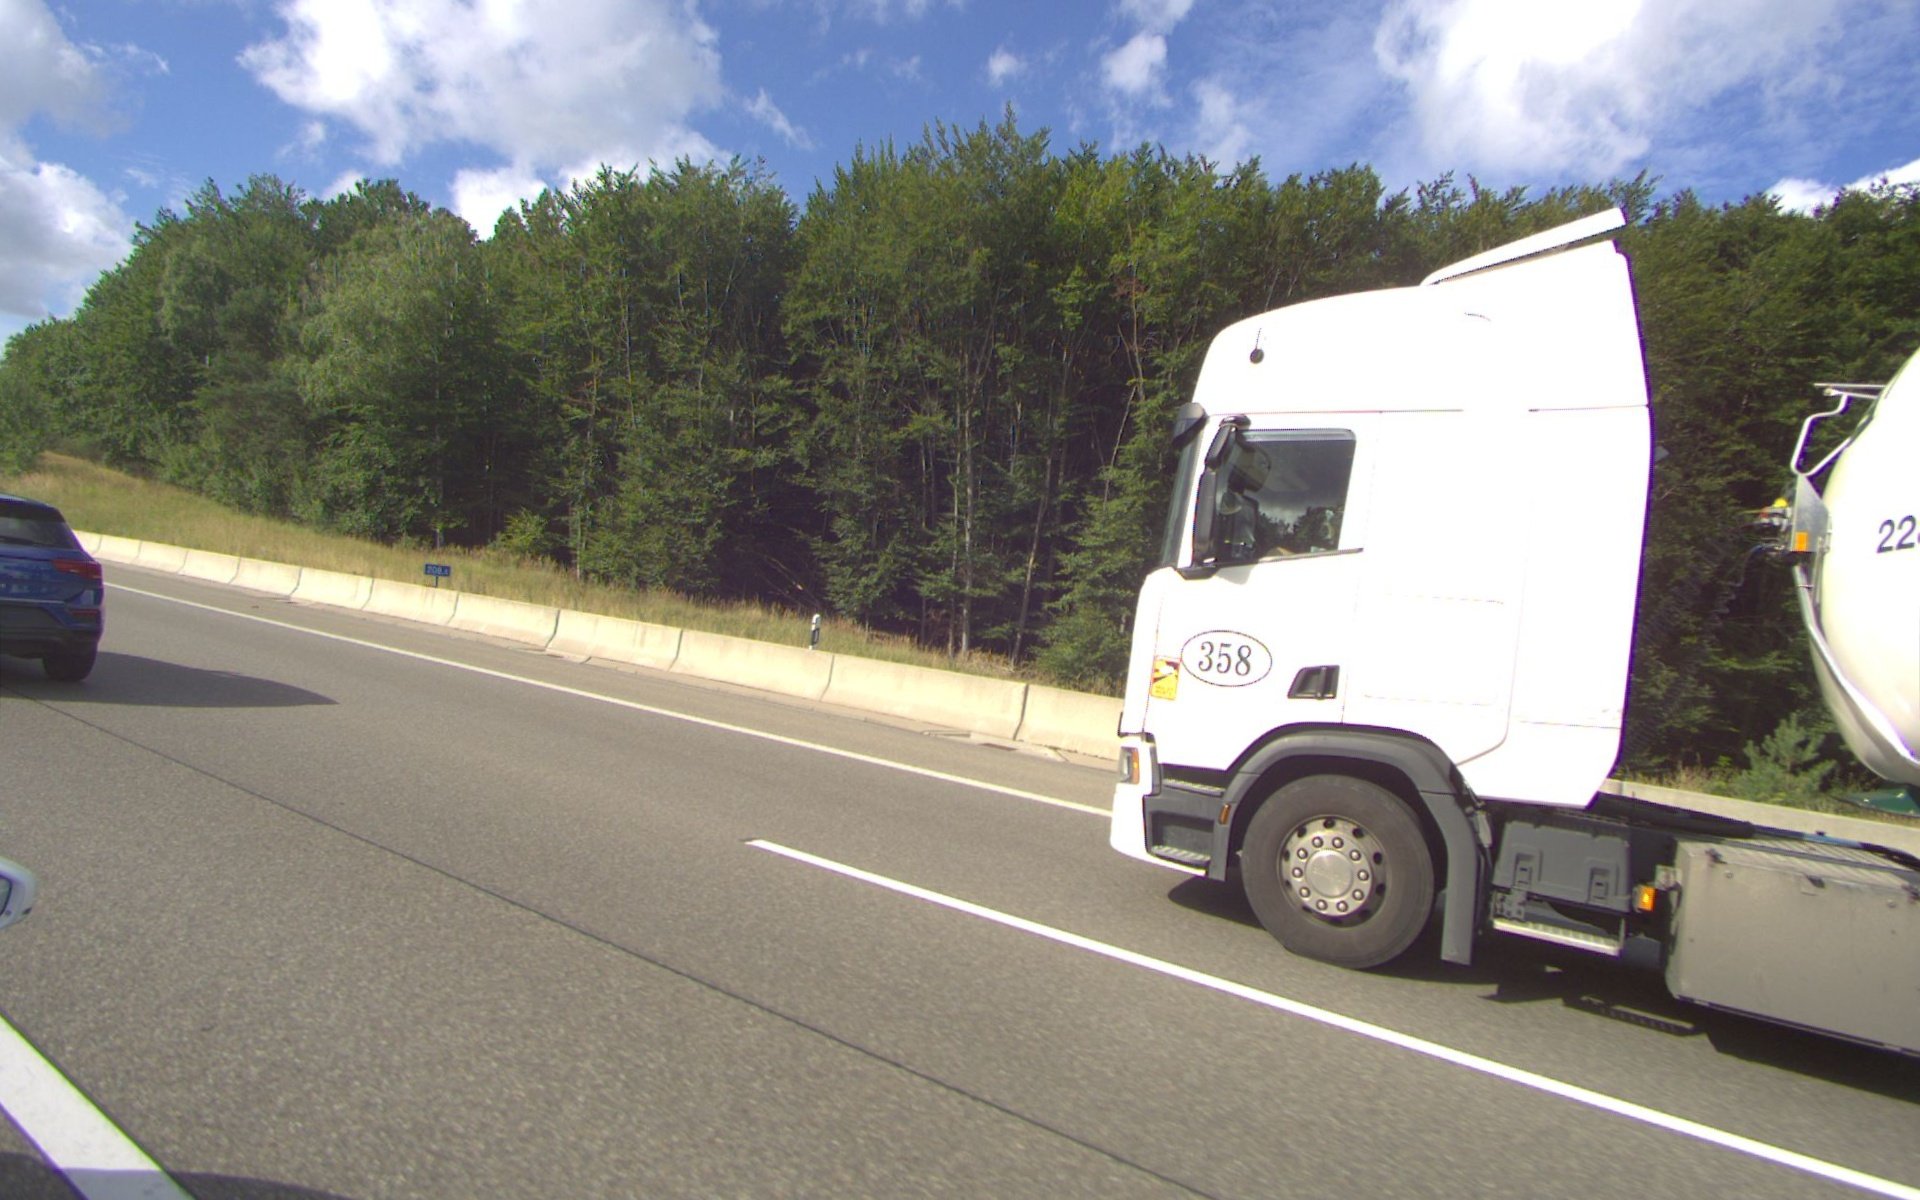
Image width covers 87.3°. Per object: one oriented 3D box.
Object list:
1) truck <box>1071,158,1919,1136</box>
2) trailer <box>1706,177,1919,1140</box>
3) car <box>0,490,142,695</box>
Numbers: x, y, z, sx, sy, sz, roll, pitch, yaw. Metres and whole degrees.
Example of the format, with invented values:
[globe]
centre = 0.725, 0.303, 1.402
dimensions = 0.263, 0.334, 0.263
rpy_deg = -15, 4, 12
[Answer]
[truck]
centre = 4.078, 0.206, 5.390
dimensions = 5.980, 3.870, 2.653
rpy_deg = 7, 0, 31
[trailer]
centre = 9.266, 0.872, 2.229
dimensions = 11.661, 3.813, 2.653
rpy_deg = 7, 0, 31
[car]
centre = -9.166, -0.272, 8.767
dimensions = 4.385, 1.548, 1.775
rpy_deg = 7, -1, 33
